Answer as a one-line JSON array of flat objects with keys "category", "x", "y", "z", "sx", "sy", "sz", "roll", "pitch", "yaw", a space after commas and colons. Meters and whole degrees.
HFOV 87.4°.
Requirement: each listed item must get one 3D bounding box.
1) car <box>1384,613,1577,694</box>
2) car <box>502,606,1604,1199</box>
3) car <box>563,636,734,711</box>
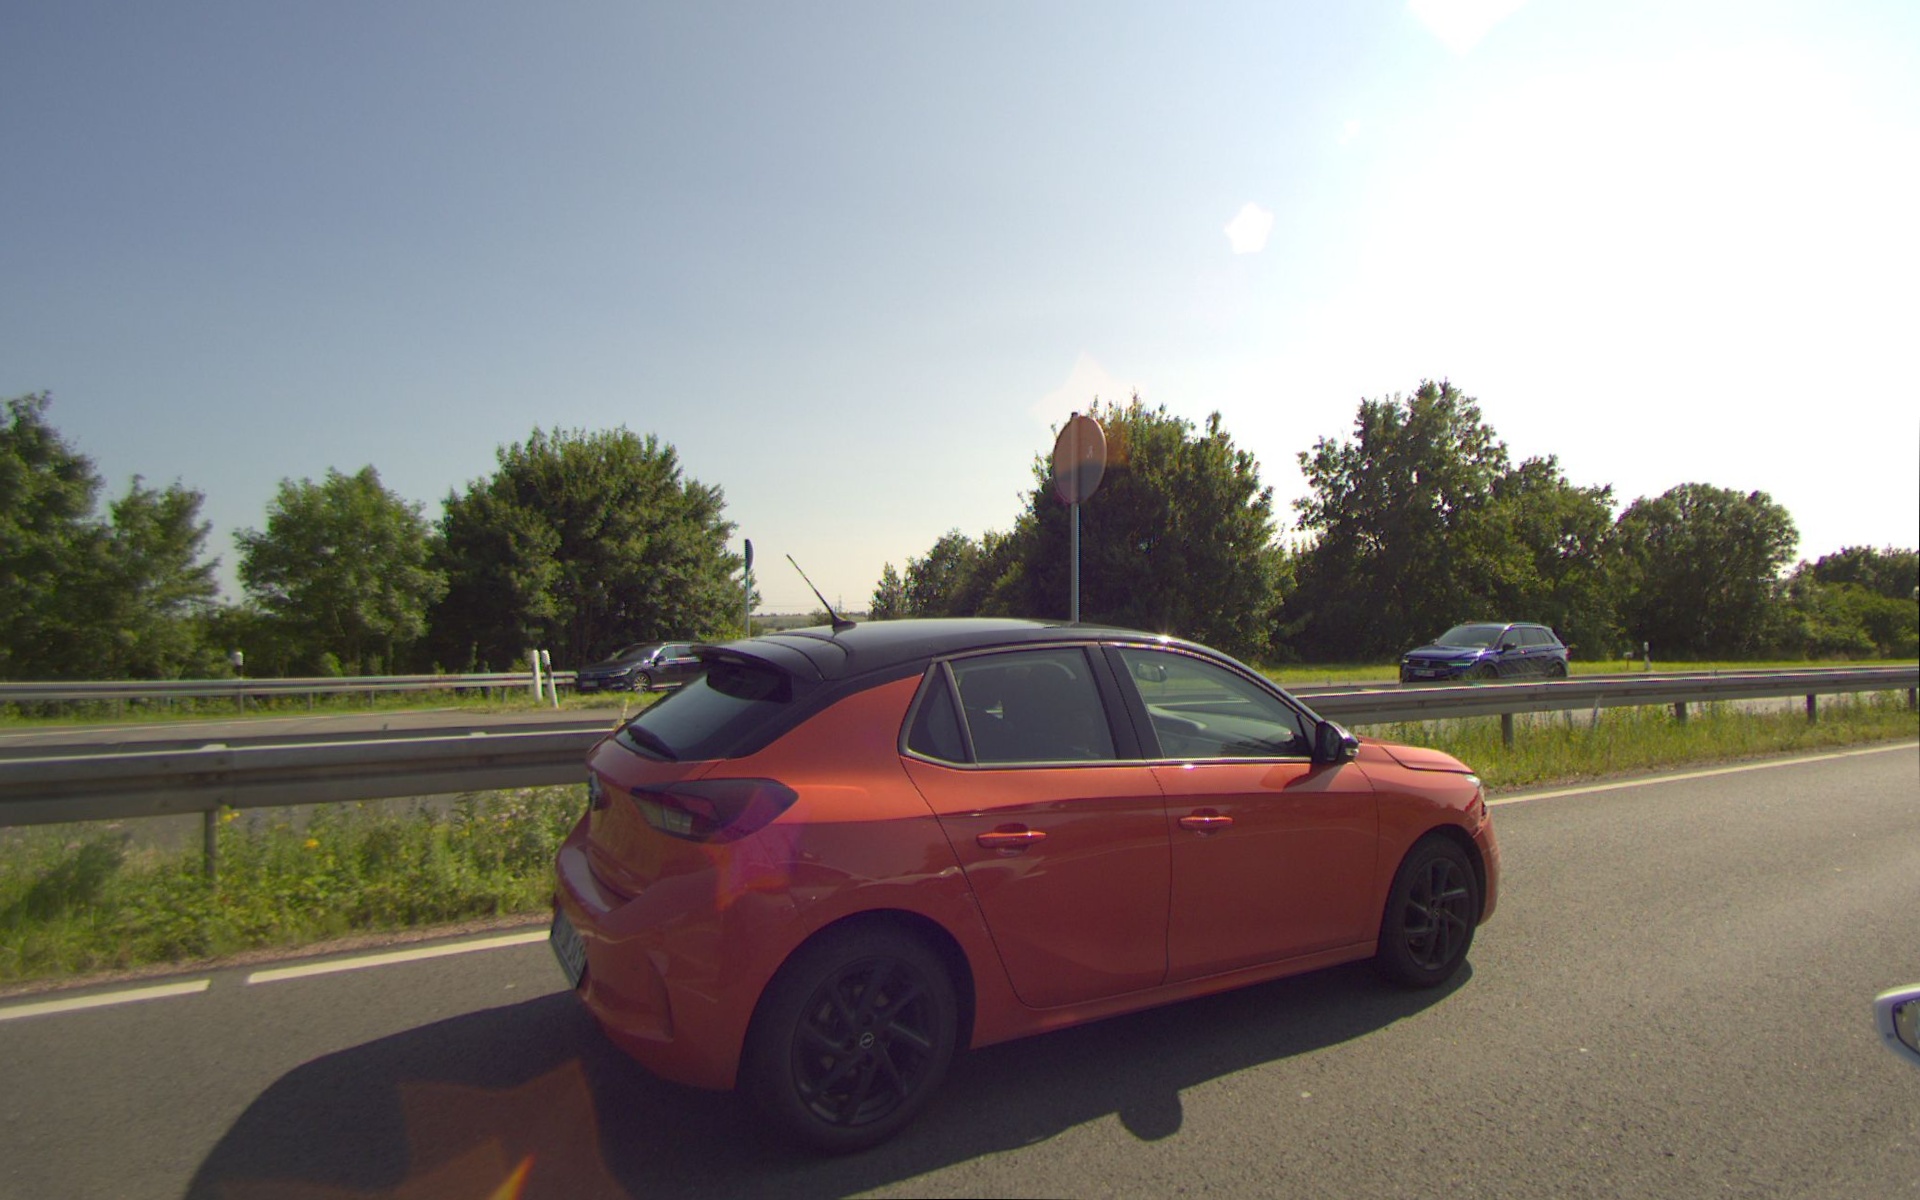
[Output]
[{"category": "car", "x": 11.933, "y": 1.141, "z": 22.980, "sx": 4.223, "sy": 1.627, "sz": 1.984, "roll": 0, "pitch": 1, "yaw": -30}, {"category": "car", "x": 0.592, "y": 0.769, "z": 4.121, "sx": 4.360, "sy": 1.456, "sz": 1.701, "roll": 1, "pitch": -1, "yaw": -31}, {"category": "car", "x": -8.217, "y": 1.884, "z": 27.024, "sx": 1.804, "sy": 1.723, "sz": 4.751, "roll": 0, "pitch": -1, "yaw": 22}]
